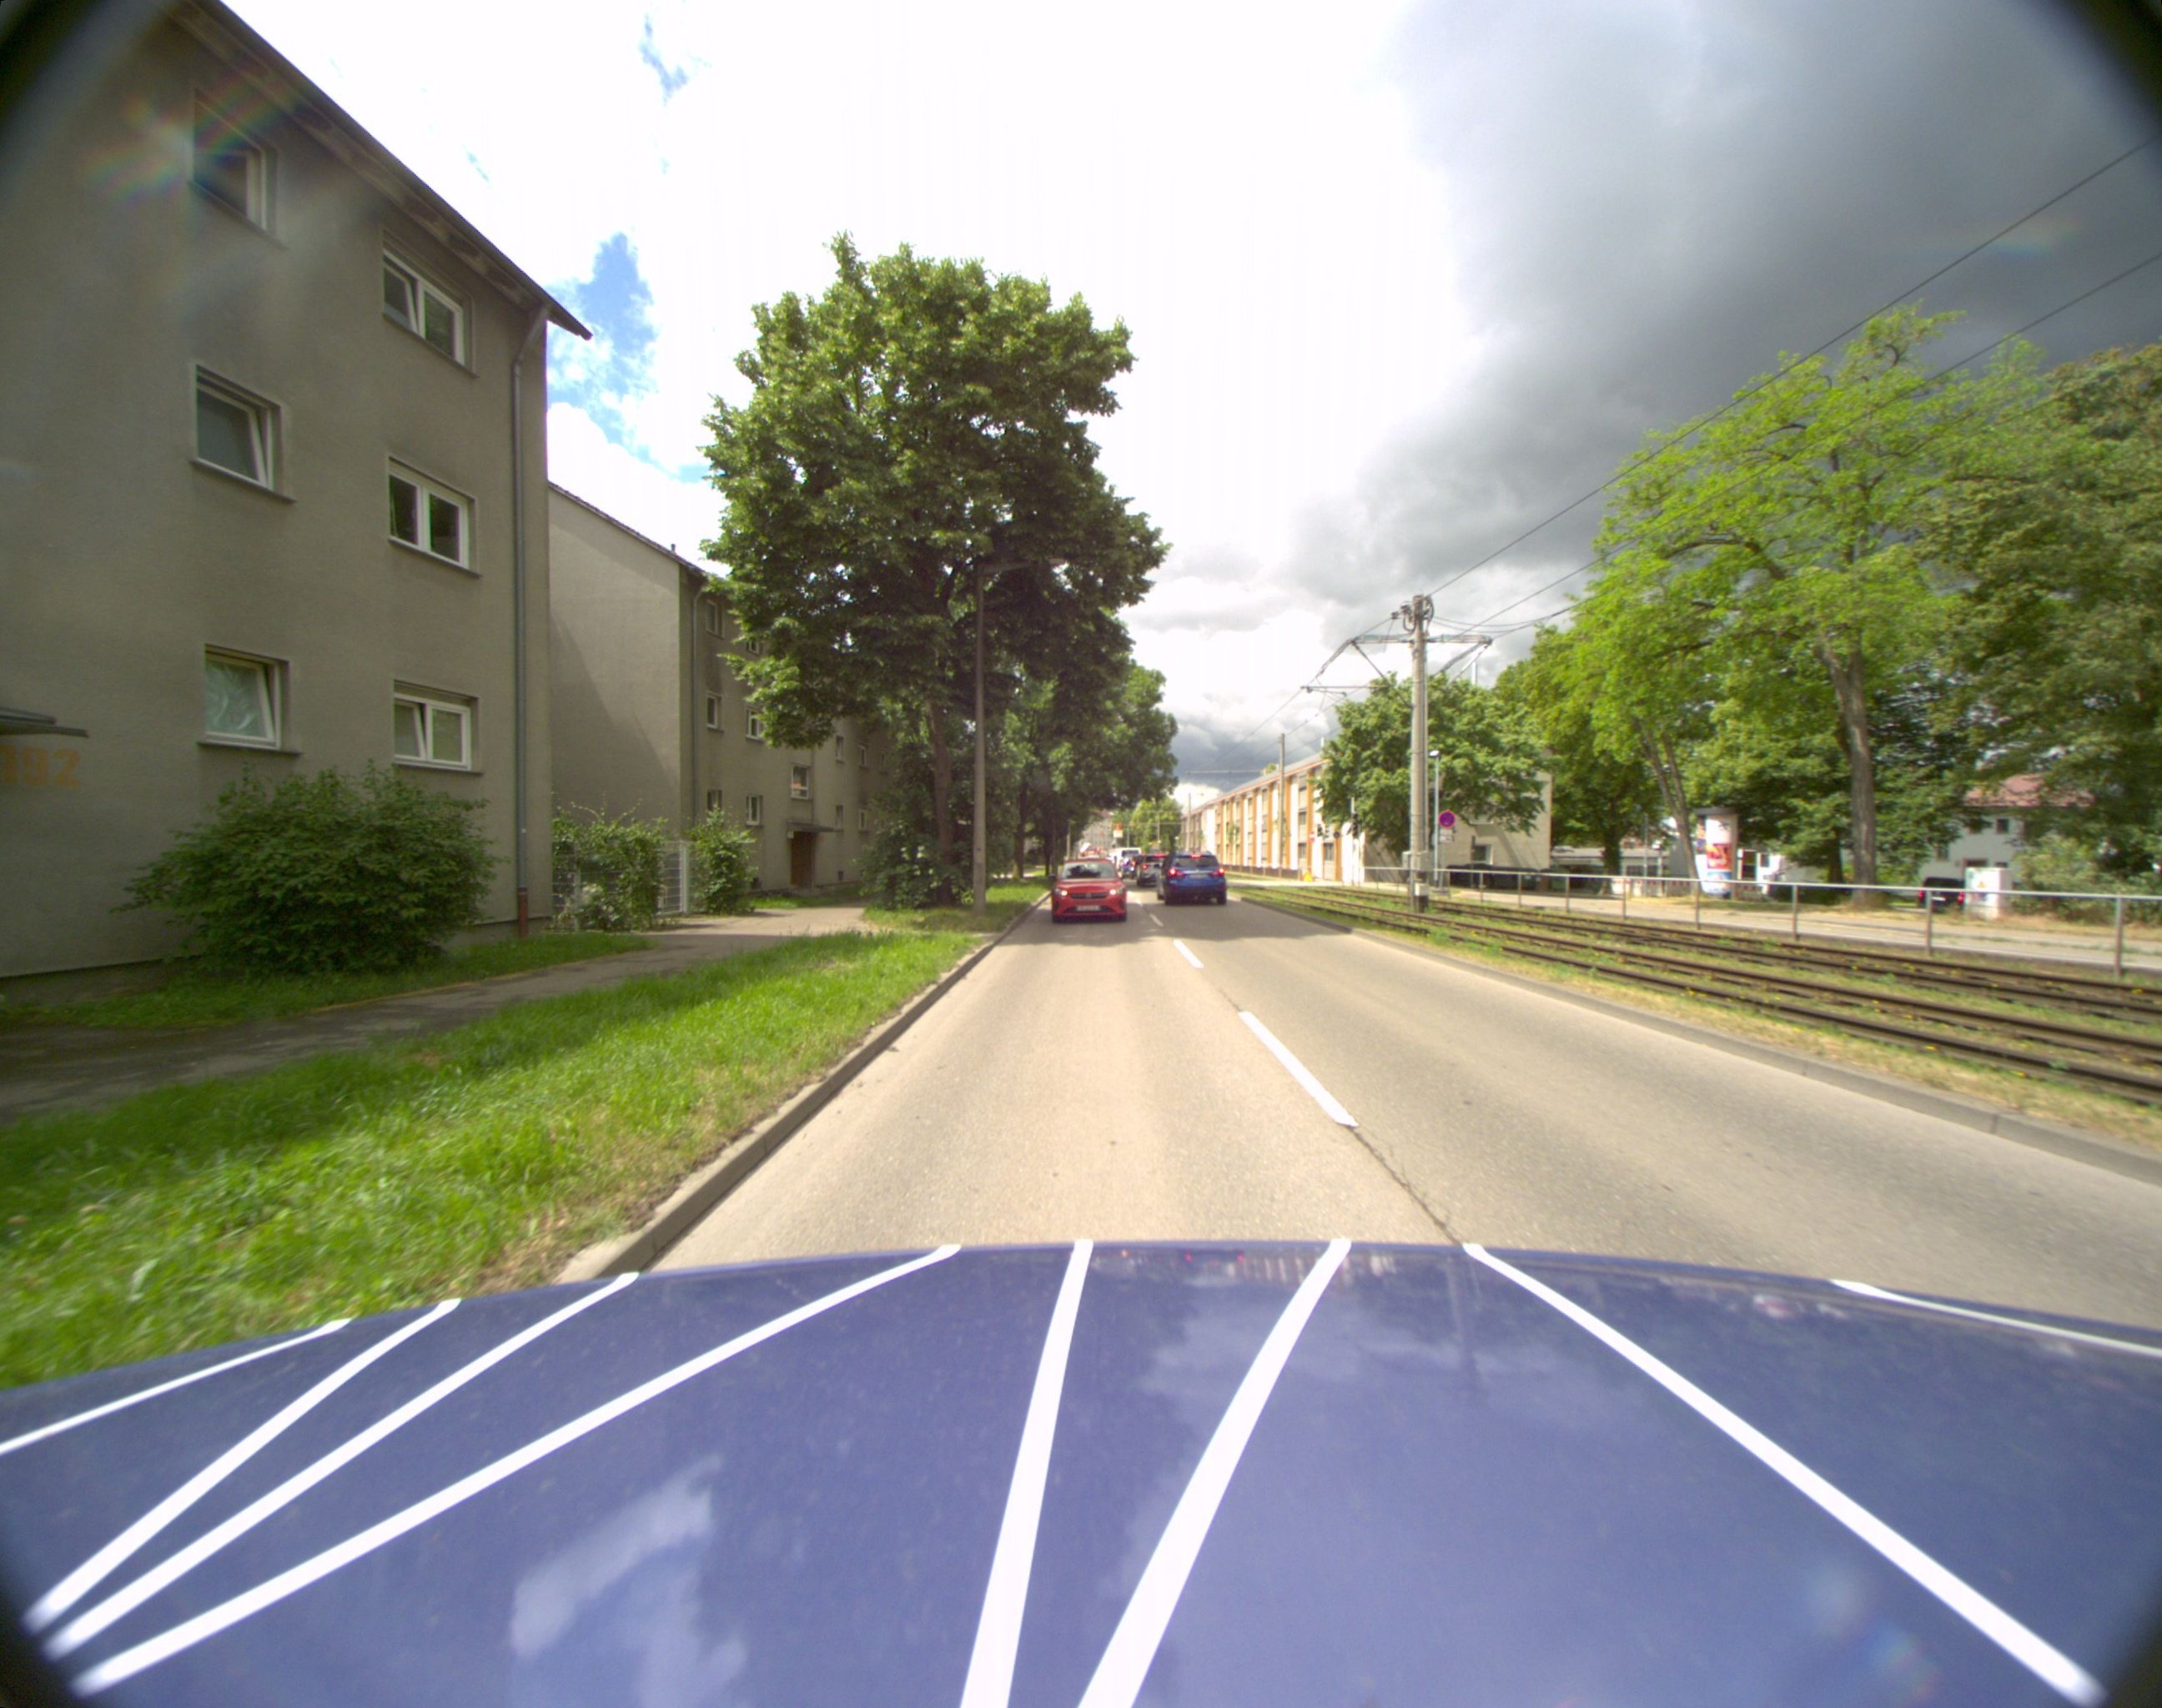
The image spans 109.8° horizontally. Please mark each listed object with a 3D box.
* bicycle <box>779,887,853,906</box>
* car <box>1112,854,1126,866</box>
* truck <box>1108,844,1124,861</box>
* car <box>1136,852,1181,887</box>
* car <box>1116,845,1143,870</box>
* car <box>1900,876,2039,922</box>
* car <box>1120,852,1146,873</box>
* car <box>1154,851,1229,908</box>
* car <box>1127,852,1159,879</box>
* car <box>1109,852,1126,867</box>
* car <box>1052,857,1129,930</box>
[{"bbox_3d":[-8.494,1.363,24.388,2.208,0.505,0.673,-1,1,12],"label":"bicycle"},{"bbox_3d":[5.002,0.743,100.926,1.666,1.513,3.786,-2,0,1],"label":"car"},{"bbox_3d":[5.618,-0.266,121.545,2.096,2.723,5.096,-2,1,-2],"label":"truck"},{"bbox_3d":[3.594,0.702,35.825,1.721,1.535,4.000,-2,0,0],"label":"car"},{"bbox_3d":[4.121,0.286,65.018,1.999,1.984,4.785,-1,0,0],"label":"car"},{"bbox_3d":[41.689,2.095,35.721,3.996,1.848,2.000,2,1,2],"label":"car"},{"bbox_3d":[3.882,0.599,57.213,1.585,1.477,3.806,-2,0,0],"label":"car"},{"bbox_3d":[3.329,0.733,23.570,1.717,1.557,4.166,-2,0,1],"label":"car"},{"bbox_3d":[3.704,0.673,45.699,1.641,1.524,3.275,-2,0,0],"label":"car"},{"bbox_3d":[4.129,0.602,86.289,1.666,1.513,3.678,-2,0,1],"label":"car"},{"bbox_3d":[0.233,0.868,18.490,1.666,1.513,3.786,-1,1,1],"label":"car"}]
